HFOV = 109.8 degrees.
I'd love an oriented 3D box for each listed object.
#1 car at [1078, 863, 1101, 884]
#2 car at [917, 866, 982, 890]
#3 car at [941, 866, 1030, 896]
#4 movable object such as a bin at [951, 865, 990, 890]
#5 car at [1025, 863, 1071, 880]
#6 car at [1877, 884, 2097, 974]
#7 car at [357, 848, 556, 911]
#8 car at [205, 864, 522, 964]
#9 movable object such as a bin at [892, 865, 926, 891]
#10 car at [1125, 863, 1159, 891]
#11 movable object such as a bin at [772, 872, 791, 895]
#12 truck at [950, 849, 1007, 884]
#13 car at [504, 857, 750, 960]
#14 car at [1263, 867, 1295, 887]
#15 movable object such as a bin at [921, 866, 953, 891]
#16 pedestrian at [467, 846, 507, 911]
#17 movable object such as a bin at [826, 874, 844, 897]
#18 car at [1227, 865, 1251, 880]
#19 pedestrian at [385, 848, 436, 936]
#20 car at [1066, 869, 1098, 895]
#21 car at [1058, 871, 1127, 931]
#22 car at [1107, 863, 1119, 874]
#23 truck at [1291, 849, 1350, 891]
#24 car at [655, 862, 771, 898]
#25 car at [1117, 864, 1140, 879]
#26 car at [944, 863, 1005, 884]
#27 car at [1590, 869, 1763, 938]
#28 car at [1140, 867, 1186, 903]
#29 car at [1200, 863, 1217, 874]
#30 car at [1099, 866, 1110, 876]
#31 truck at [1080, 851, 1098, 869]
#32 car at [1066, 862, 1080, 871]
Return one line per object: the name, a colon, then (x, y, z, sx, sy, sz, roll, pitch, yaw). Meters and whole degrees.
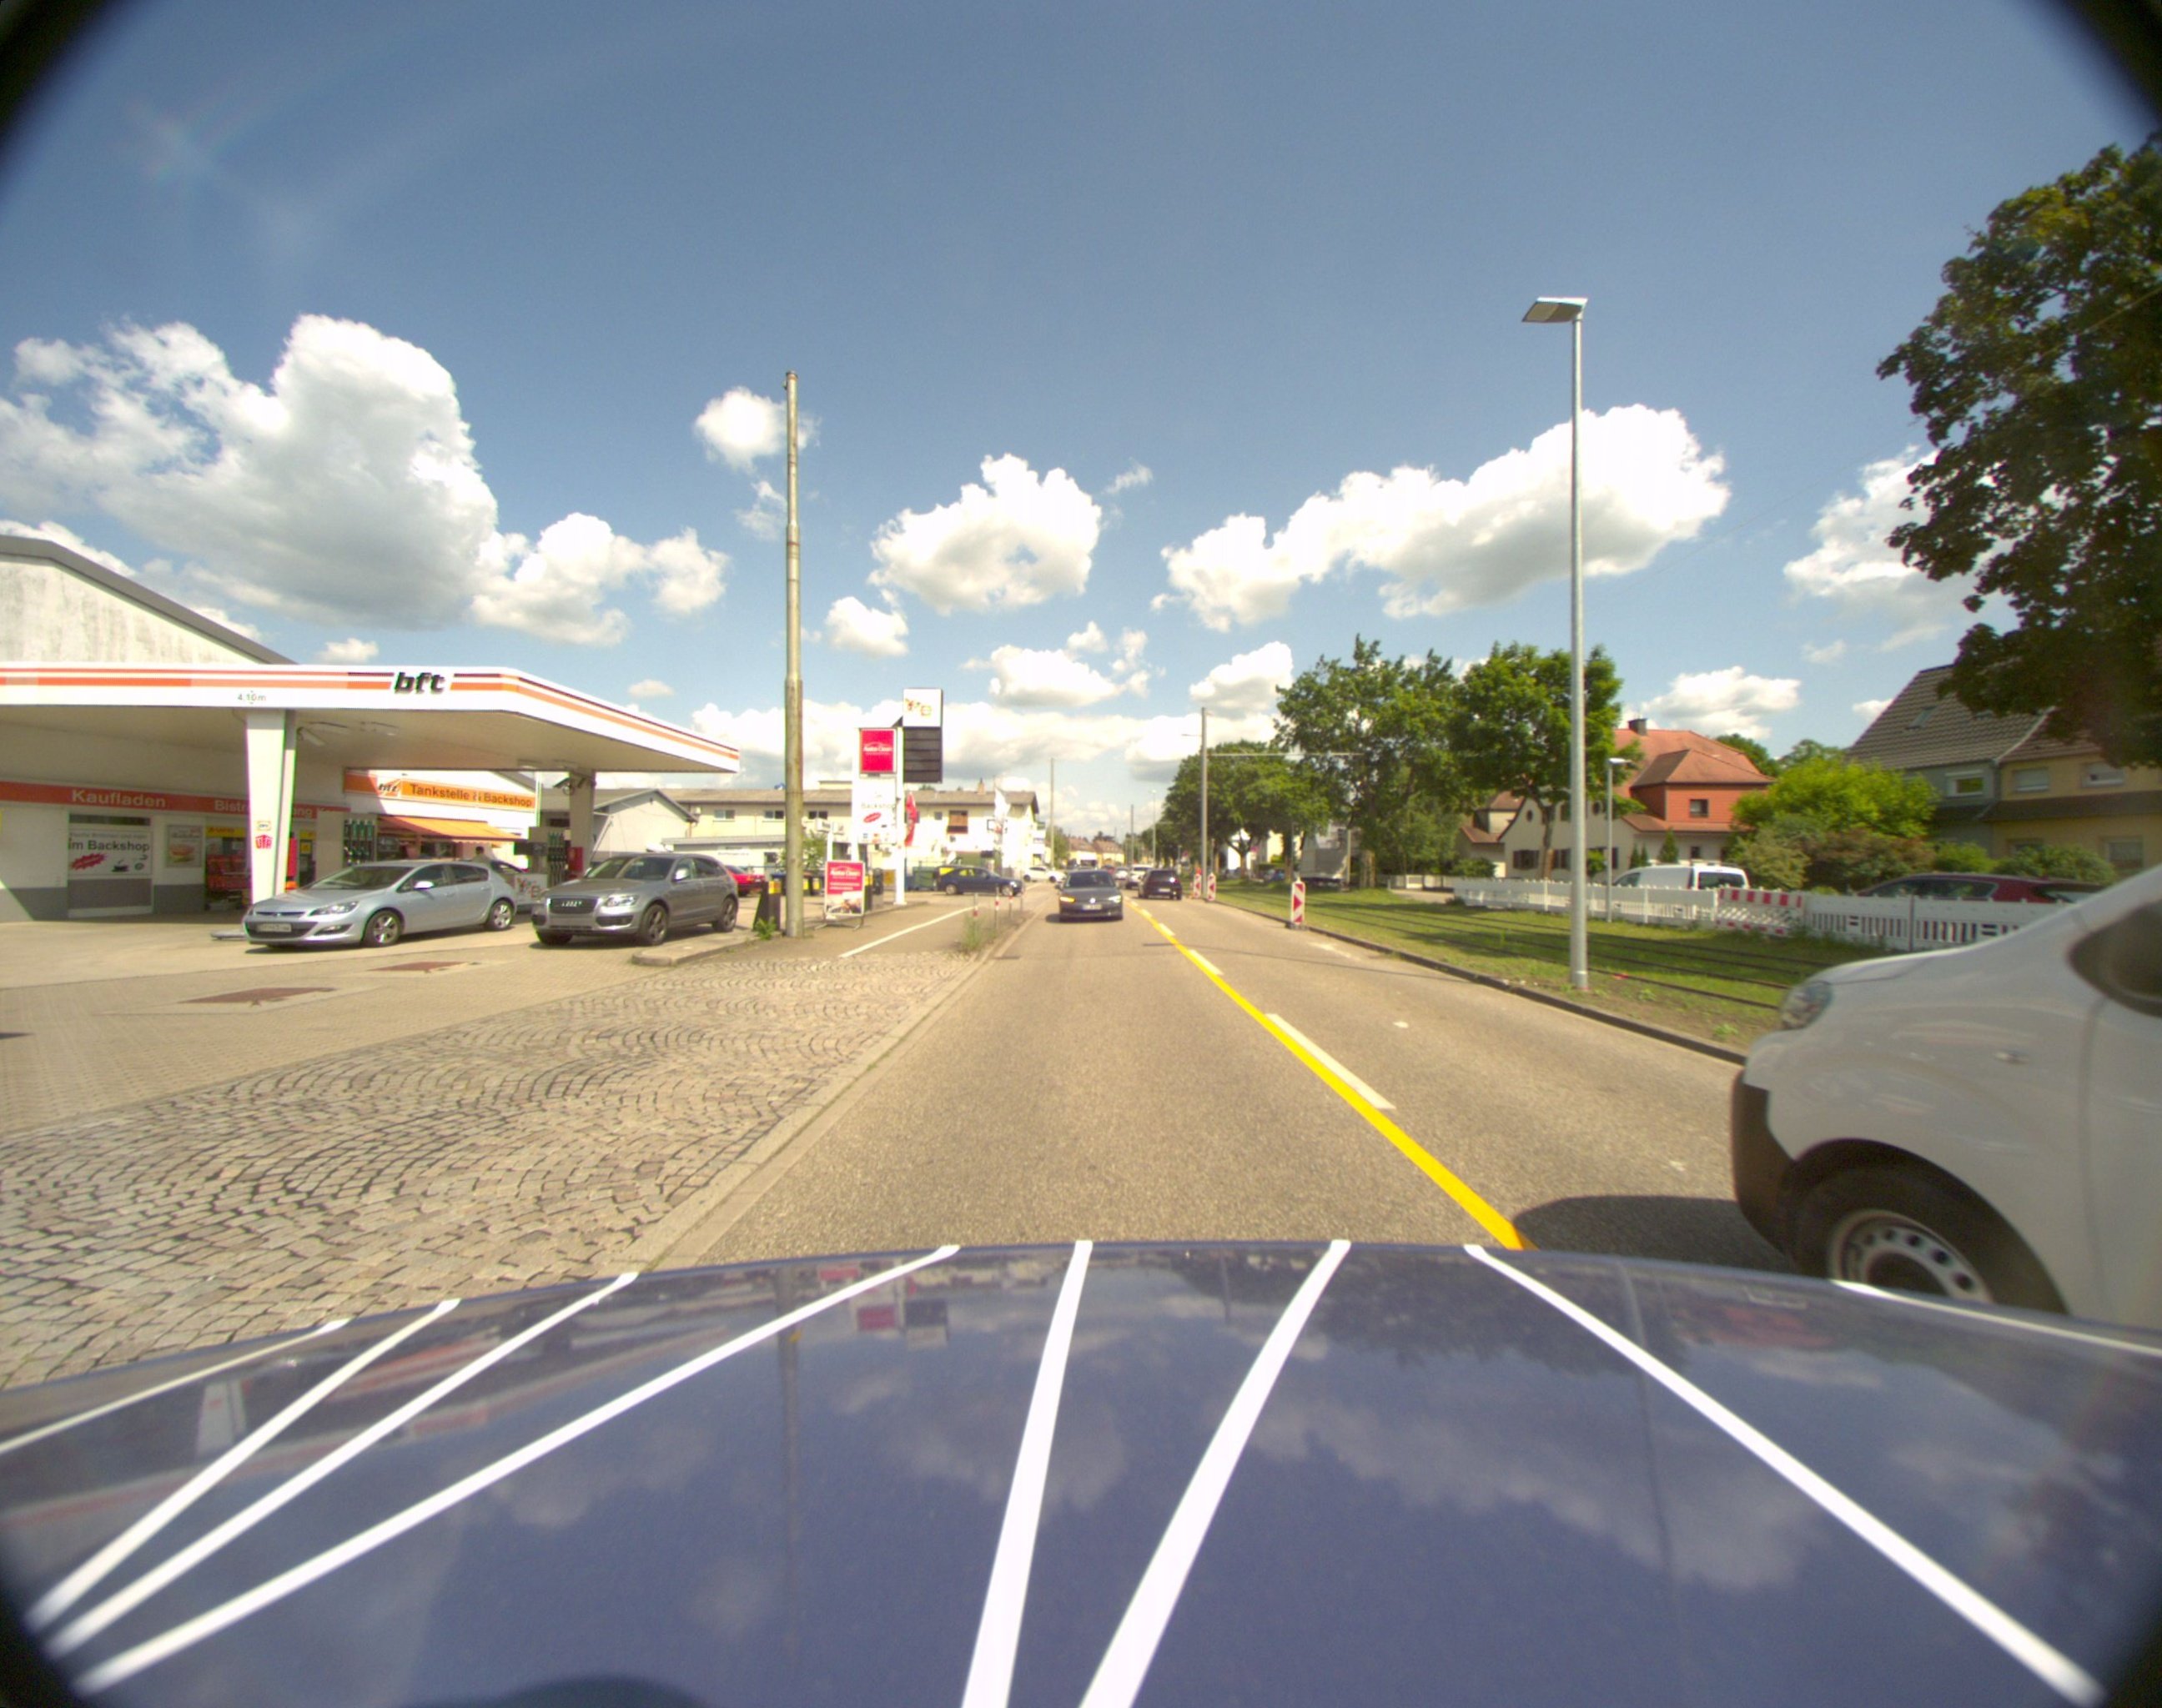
car: (0.644, 1.425, 56.182, 1.594, 1.418, 3.707, -1, 0, 1)
car: (-8.761, 1.581, 50.710, 3.902, 1.454, 1.628, 0, 1, 17)
car: (-4.643, 1.303, 37.377, 4.061, 1.400, 1.648, 0, 1, 7)
movable object such as a bin: (-6.369, 1.344, 44.050, 1.968, 1.339, 1.708, -1, 0, 0)
car: (-2.944, 1.560, 67.291, 3.721, 1.350, 1.520, -1, 0, 19)
car: (16.074, 1.269, 13.630, 1.075, 1.340, 2.449, 2, 0, 5)
car: (-16.803, 0.645, 20.801, 1.687, 1.511, 4.493, 1, 0, 1)
car: (-12.653, 0.956, 13.899, 1.696, 1.462, 4.422, 0, 0, -2)
movable object such as a bin: (-9.914, 1.358, 43.901, 1.536, 1.402, 1.765, -1, 0, 0)
car: (3.948, 1.475, 49.754, 1.829, 1.656, 4.462, 2, 0, 0)
movable object such as a bin: (-13.680, 1.349, 34.752, 0.582, 1.004, 0.706, -1, 0, -1)
truck: (-8.199, 0.990, 61.027, 4.181, 2.645, 2.109, -1, 0, 2)
car: (-8.253, 0.886, 14.443, 1.951, 1.615, 4.615, 1, 0, -1)
car: (16.760, 1.934, 64.415, 1.672, 1.504, 3.931, -1, 0, 1)
movable object such as a bin: (-8.320, 1.399, 44.007, 1.536, 1.402, 1.765, -1, 0, 0)
pedestrian: (-15.912, 0.647, 20.371, 0.687, 1.712, 0.618, -2, 1, -25)
movable object such as a bin: (-11.266, 1.447, 34.792, 0.582, 1.004, 0.706, -1, 0, -1)
car: (17.076, 1.981, 82.174, 1.707, 1.504, 4.524, -1, 0, 1)
pedestrian: (-13.874, 0.771, 15.732, 0.498, 1.766, 0.577, -1, 1, -2)
car: (0.094, 1.550, 43.179, 1.732, 1.259, 4.000, -1, 0, 1)
car: (0.349, 1.262, 21.630, 1.743, 1.409, 4.381, -1, 0, 2)
car: (4.671, 2.102, 110.546, 1.582, 1.460, 3.721, 1, 0, 1)
truck: (16.866, 1.057, 53.901, 2.371, 2.788, 5.951, -1, 0, 1)
car: (-15.818, 1.108, 32.765, 4.144, 1.416, 1.771, 1, 0, 2)
car: (4.610, 1.692, 74.189, 1.825, 1.436, 4.484, 2, -1, 0)
car: (-8.155, 1.499, 58.228, 4.257, 1.499, 1.828, -1, 0, 8)
car: (16.306, 1.287, 21.106, 1.657, 1.616, 4.001, 1, 0, 1)
car: (3.766, 1.405, 35.532, 1.696, 1.404, 3.859, 3, 0, 0)
car: (17.418, 1.974, 103.840, 1.636, 1.294, 4.000, -1, 0, 1)
car: (4.017, 2.907, 129.580, 1.801, 1.680, 4.221, 2, -1, 0)
truck: (1.374, 0.969, 129.262, 2.632, 2.871, 7.925, -1, 0, 3)
car: (-1.325, 2.063, 124.120, 1.823, 1.411, 4.003, 1, -1, 7)
